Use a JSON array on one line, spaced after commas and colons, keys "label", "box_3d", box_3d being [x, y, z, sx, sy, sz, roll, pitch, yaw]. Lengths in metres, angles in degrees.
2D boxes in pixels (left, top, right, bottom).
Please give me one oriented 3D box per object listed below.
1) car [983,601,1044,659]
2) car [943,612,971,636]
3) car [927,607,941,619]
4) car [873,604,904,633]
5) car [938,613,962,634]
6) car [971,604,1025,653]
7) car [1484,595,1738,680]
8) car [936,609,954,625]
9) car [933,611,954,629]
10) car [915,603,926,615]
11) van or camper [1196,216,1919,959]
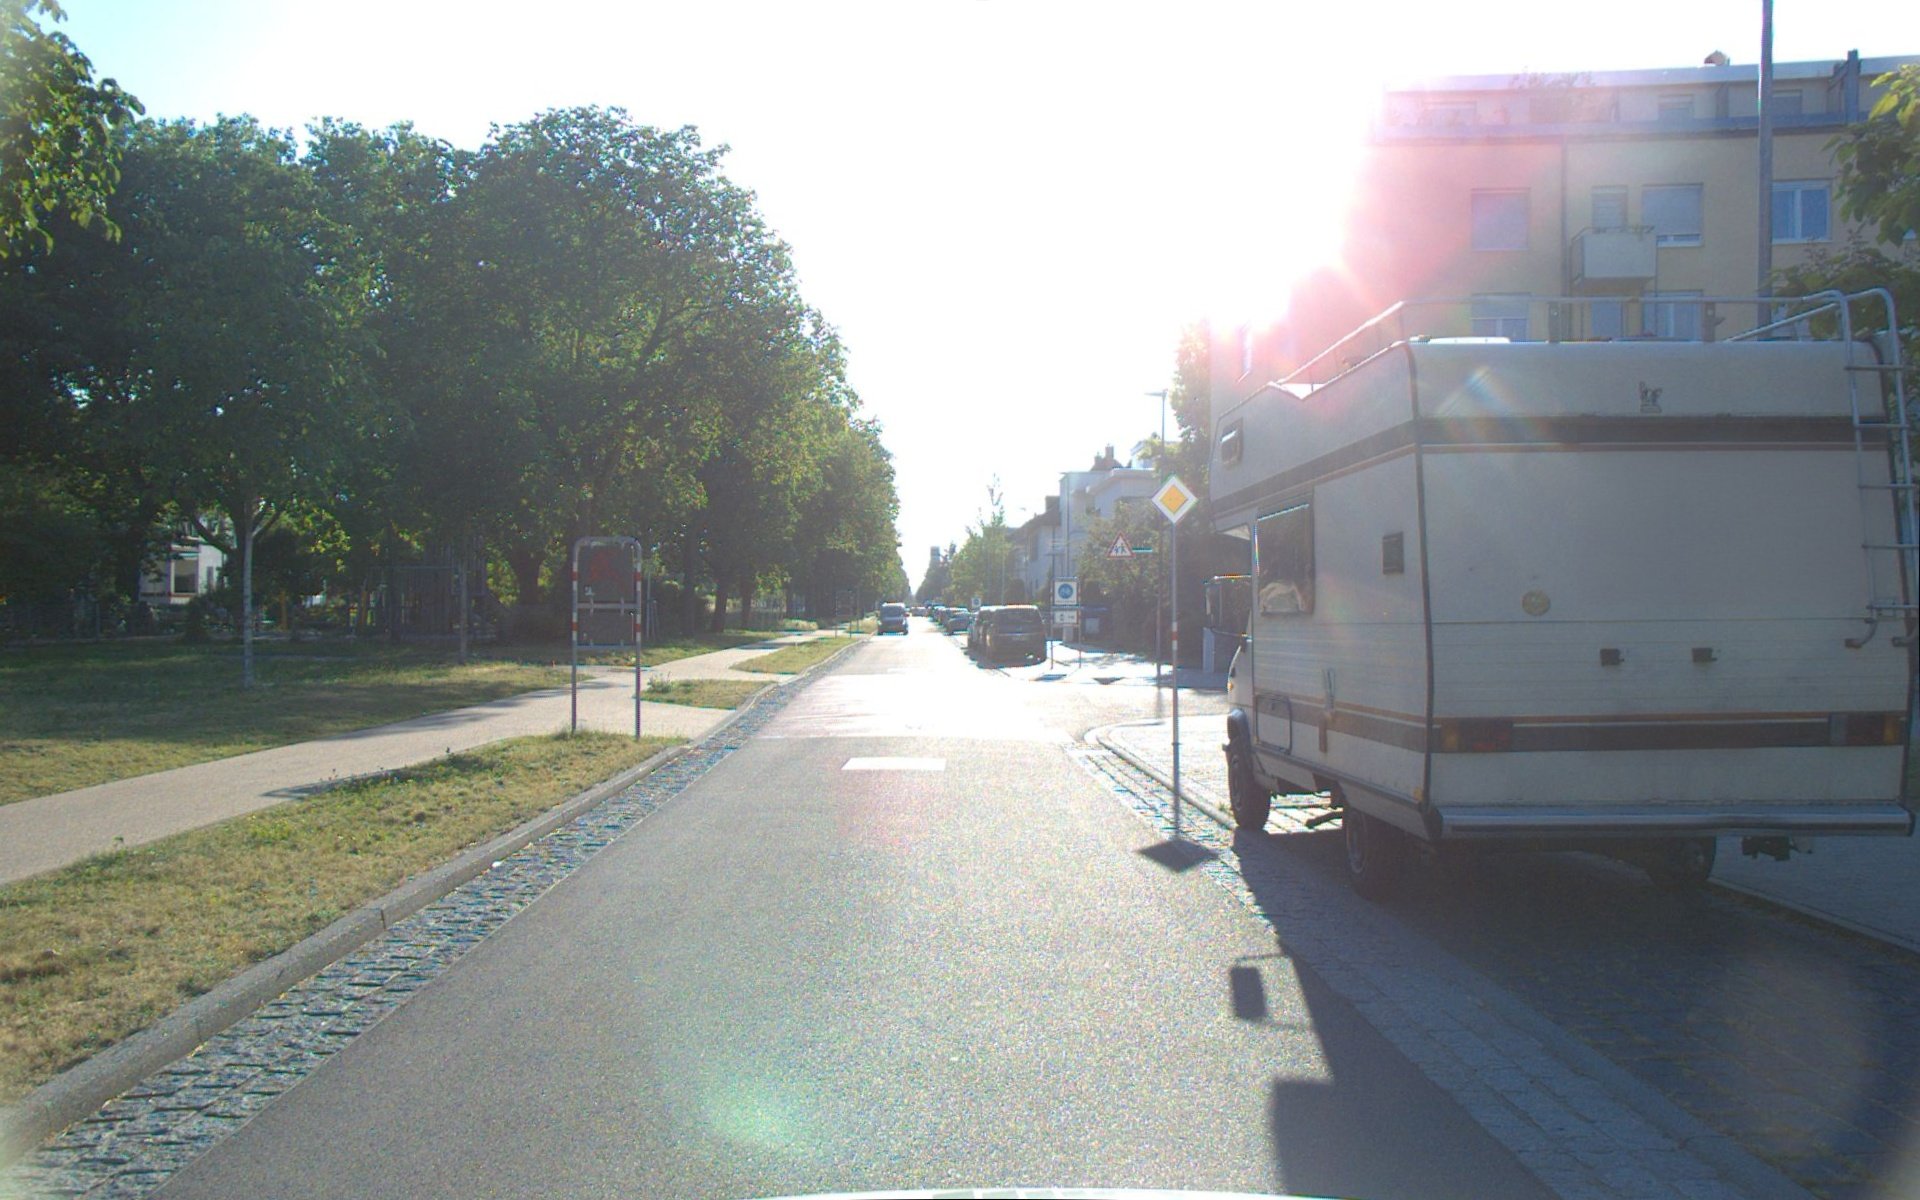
[{"label": "car", "box_3d": [1.600, 0.916, 50.852, 1.593, 1.698, 4.247, 0, -1, -2]}, {"label": "car", "box_3d": [-0.209, 1.518, 104.354, 1.593, 1.434, 4.247, 0, -1, -2]}, {"label": "car", "box_3d": [-3.242, 1.660, 204.377, 1.593, 1.434, 4.247, 0, -1, -2]}, {"label": "car", "box_3d": [-4.225, 1.119, 98.306, 1.789, 1.698, 4.247, 0, -1, -2]}, {"label": "car", "box_3d": [-0.710, 1.660, 115.595, 1.593, 1.434, 4.247, 0, -1, -2]}, {"label": "car", "box_3d": [1.412, 1.060, 61.613, 1.952, 1.747, 4.000, 0, -1, 1]}, {"label": "car", "box_3d": [12.423, 0.709, 31.757, 4.107, 1.557, 2.001, 0, -1, 2]}, {"label": "car", "box_3d": [-1.369, 1.560, 152.121, 1.593, 1.434, 4.247, 0, -1, -2]}, {"label": "car", "box_3d": [-1.346, 1.633, 135.814, 1.593, 1.434, 4.247, 0, -1, -2]}, {"label": "car", "box_3d": [-5.871, 1.274, 243.340, 1.593, 1.698, 4.247, 0, -1, -2]}, {"label": "van or camper", "box_3d": [2.948, 0.013, 9.455, 2.189, 2.955, 5.670, 0, -2, -2]}]
